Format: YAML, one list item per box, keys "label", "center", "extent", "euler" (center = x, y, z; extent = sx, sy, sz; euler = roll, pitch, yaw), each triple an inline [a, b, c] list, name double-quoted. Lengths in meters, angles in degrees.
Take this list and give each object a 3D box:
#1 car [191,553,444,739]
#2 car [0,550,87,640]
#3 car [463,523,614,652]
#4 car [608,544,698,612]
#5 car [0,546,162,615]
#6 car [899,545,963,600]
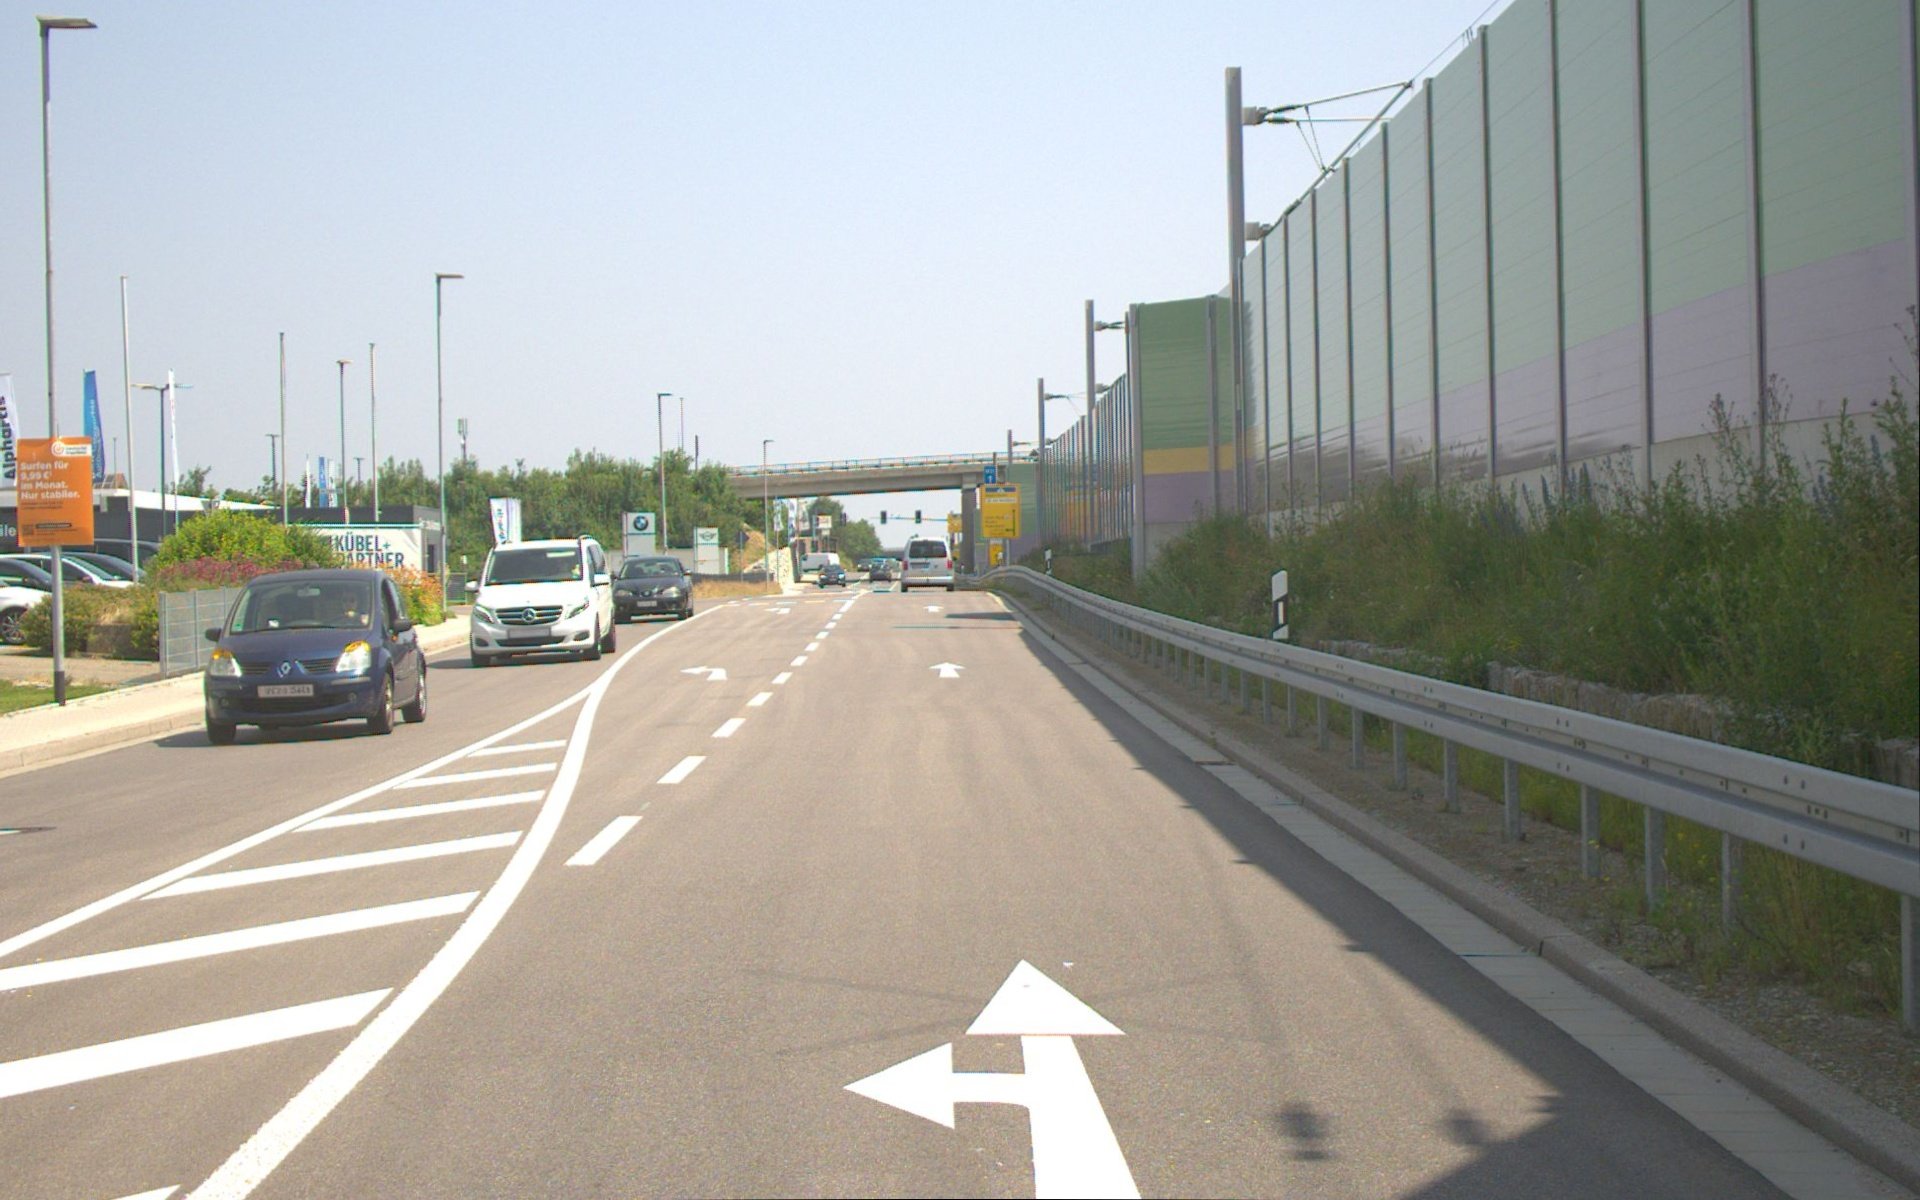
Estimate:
- label: "car"
  center: [-6.103, 0.391, 33.071]
  extent: [1.668, 1.594, 3.973]
  euler: [-3, 1, -1]
- label: "car"
  center: [-16.943, -0.128, 57.523]
  extent: [4.223, 1.451, 1.764]
  euler: [2, 1, -2]
- label: "car"
  center: [-6.605, -0.211, 54.329]
  extent: [1.993, 1.867, 5.170]
  euler: [-2, 1, -3]
- label: "car"
  center: [-6.767, -0.504, 76.098]
  extent: [1.670, 1.418, 4.000]
  euler: [-1, 1, -1]
- label: "car"
  center: [-17.373, -0.390, 66.507]
  extent: [3.509, 1.250, 1.505]
  euler: [2, 1, -2]
- label: "car"
  center: [-0.957, -0.910, 114.096]
  extent: [1.993, 1.751, 4.000]
  euler: [-1, 1, 1]
